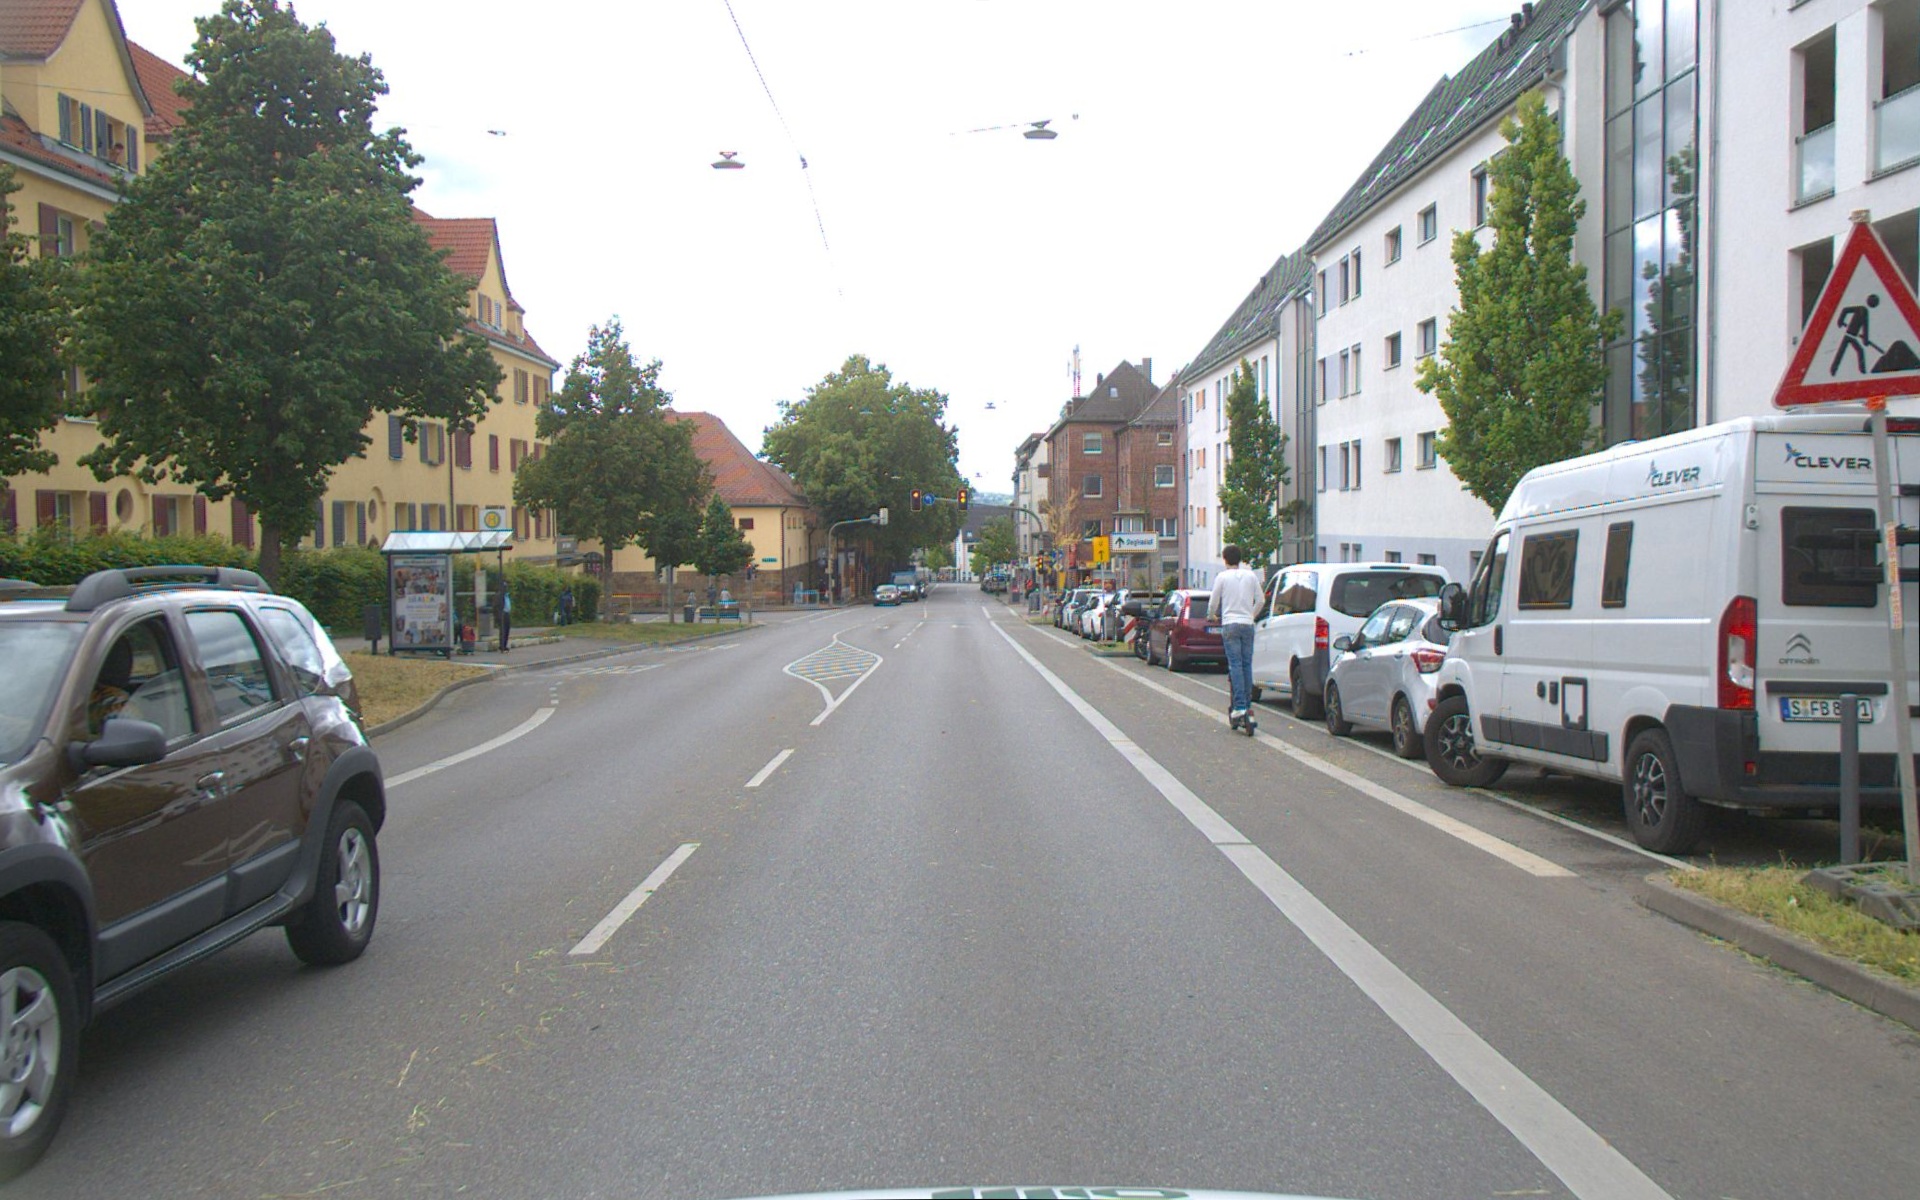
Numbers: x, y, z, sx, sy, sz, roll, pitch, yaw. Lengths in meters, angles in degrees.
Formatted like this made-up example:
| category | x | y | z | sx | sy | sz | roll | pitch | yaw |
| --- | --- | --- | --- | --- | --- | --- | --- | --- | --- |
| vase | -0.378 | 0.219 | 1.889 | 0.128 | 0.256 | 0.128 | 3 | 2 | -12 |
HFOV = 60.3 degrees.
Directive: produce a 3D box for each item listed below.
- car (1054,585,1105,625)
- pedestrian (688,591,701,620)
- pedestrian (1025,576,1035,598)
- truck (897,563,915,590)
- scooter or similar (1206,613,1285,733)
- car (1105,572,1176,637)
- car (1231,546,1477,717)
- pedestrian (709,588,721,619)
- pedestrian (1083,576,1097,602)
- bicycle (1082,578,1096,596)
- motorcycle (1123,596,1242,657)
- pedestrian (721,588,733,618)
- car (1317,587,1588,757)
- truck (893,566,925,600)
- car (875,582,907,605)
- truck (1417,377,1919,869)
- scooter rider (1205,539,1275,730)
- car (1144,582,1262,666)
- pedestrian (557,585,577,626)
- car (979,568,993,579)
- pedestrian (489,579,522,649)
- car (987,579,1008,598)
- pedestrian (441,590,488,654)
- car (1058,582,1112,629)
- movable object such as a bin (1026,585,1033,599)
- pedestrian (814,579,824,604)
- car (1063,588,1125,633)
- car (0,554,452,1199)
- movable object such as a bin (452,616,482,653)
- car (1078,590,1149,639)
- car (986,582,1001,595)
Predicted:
| category | x | y | z | sx | sy | sz | roll | pitch | yaw |
| --- | --- | --- | --- | --- | --- | --- | --- | --- | --- |
| car | 5.033 | 0.189 | 70.117 | 1.699 | 1.616 | 4.571 | 1 | 0 | -2 |
| pedestrian | -14.818 | 0.304 | 92.333 | 0.552 | 1.594 | 0.843 | 0 | 1 | 5 |
| pedestrian | 5.318 | -0.972 | 126.259 | 0.553 | 1.665 | 0.681 | 0 | 1 | 20 |
| truck | -6.947 | -3.052 | 214.895 | 2.185 | 3.404 | 7.448 | 0 | 1 | -1 |
| scooter or similar | 3.111 | 0.765 | 18.167 | 0.480 | 1.183 | 2.074 | 0 | 1 | -1 |
| car | 5.113 | 0.093 | 47.312 | 1.598 | 1.679 | 4.357 | 1 | 2 | 1 |
| car | 5.038 | 0.327 | 21.960 | 1.953 | 1.978 | 5.211 | -1 | 1 | -1 |
| pedestrian | -14.607 | 0.197 | 98.654 | 0.552 | 1.808 | 0.842 | 0 | 1 | -1 |
| pedestrian | 8.874 | -0.753 | 112.938 | 0.772 | 1.685 | 0.772 | -3 | 1 | 0 |
| bicycle | 8.821 | -0.886 | 113.000 | 0.744 | 1.214 | 2.391 | 0 | 1 | 0 |
| motorcycle | 4.951 | 0.583 | 36.894 | 2.546 | 1.301 | 0.752 | -1 | 1 | -5 |
| pedestrian | -13.839 | 0.182 | 98.251 | 0.552 | 1.808 | 0.717 | 0 | 1 | -1 |
| car | 4.886 | 0.642 | 16.909 | 1.494 | 1.511 | 3.724 | 1 | 1 | -3 |
| truck | -3.972 | -1.313 | 127.297 | 2.249 | 2.469 | 6.408 | -2 | 1 | -3 |
| car | -4.744 | -0.445 | 114.204 | 1.719 | 1.498 | 4.308 | -2 | 1 | 3 |
| truck | 5.071 | 0.076 | 11.659 | 2.011 | 2.610 | 5.688 | -1 | 1 | -1 |
| scooter rider | 3.072 | 0.362 | 18.170 | 0.613 | 2.049 | 0.757 | 0 | 1 | -1 |
| car | 4.823 | 0.426 | 33.378 | 1.647 | 1.571 | 4.338 | 0 | 1 | -2 |
| pedestrian | -15.707 | 0.218 | 66.115 | 0.627 | 1.647 | 0.618 | 0 | 1 | -1 |
| car | 3.643 | -3.733 | 231.460 | 1.635 | 1.574 | 3.754 | -1 | 1 | -3 |
| pedestrian | -11.659 | 0.349 | 42.410 | 0.585 | 1.757 | 0.861 | 0 | 0 | 2 |
| car | 4.015 | -1.263 | 178.749 | 1.954 | 1.969 | 4.916 | -1 | 1 | -3 |
| pedestrian | -12.076 | 0.532 | 40.292 | 0.881 | 1.536 | 0.806 | 1 | 1 | 0 |
| car | 4.897 | 0.197 | 65.318 | 1.625 | 1.746 | 4.550 | 1 | 1 | -2 |
| movable object such as a bin | 5.272 | -0.597 | 126.057 | 0.443 | 1.075 | 0.410 | 0 | 0 | 20 |
| pedestrian | -10.293 | -0.639 | 120.655 | 0.660 | 1.795 | 0.726 | -1 | 0 | 1 |
| car | 4.757 | 0.334 | 59.278 | 1.710 | 1.493 | 4.948 | 1 | 1 | -2 |
| car | -3.378 | 0.704 | 5.689 | 1.860 | 1.648 | 4.362 | -1 | 1 | 0 |
| movable object such as a bin | -11.919 | 0.830 | 39.990 | 0.525 | 0.860 | 0.665 | 1 | 1 | 1 |
| car | 4.831 | 0.440 | 52.570 | 1.695 | 1.438 | 4.499 | 1 | 1 | -2 |
| car | 4.118 | -1.434 | 202.352 | 1.635 | 1.574 | 3.754 | -1 | 1 | -3 |
